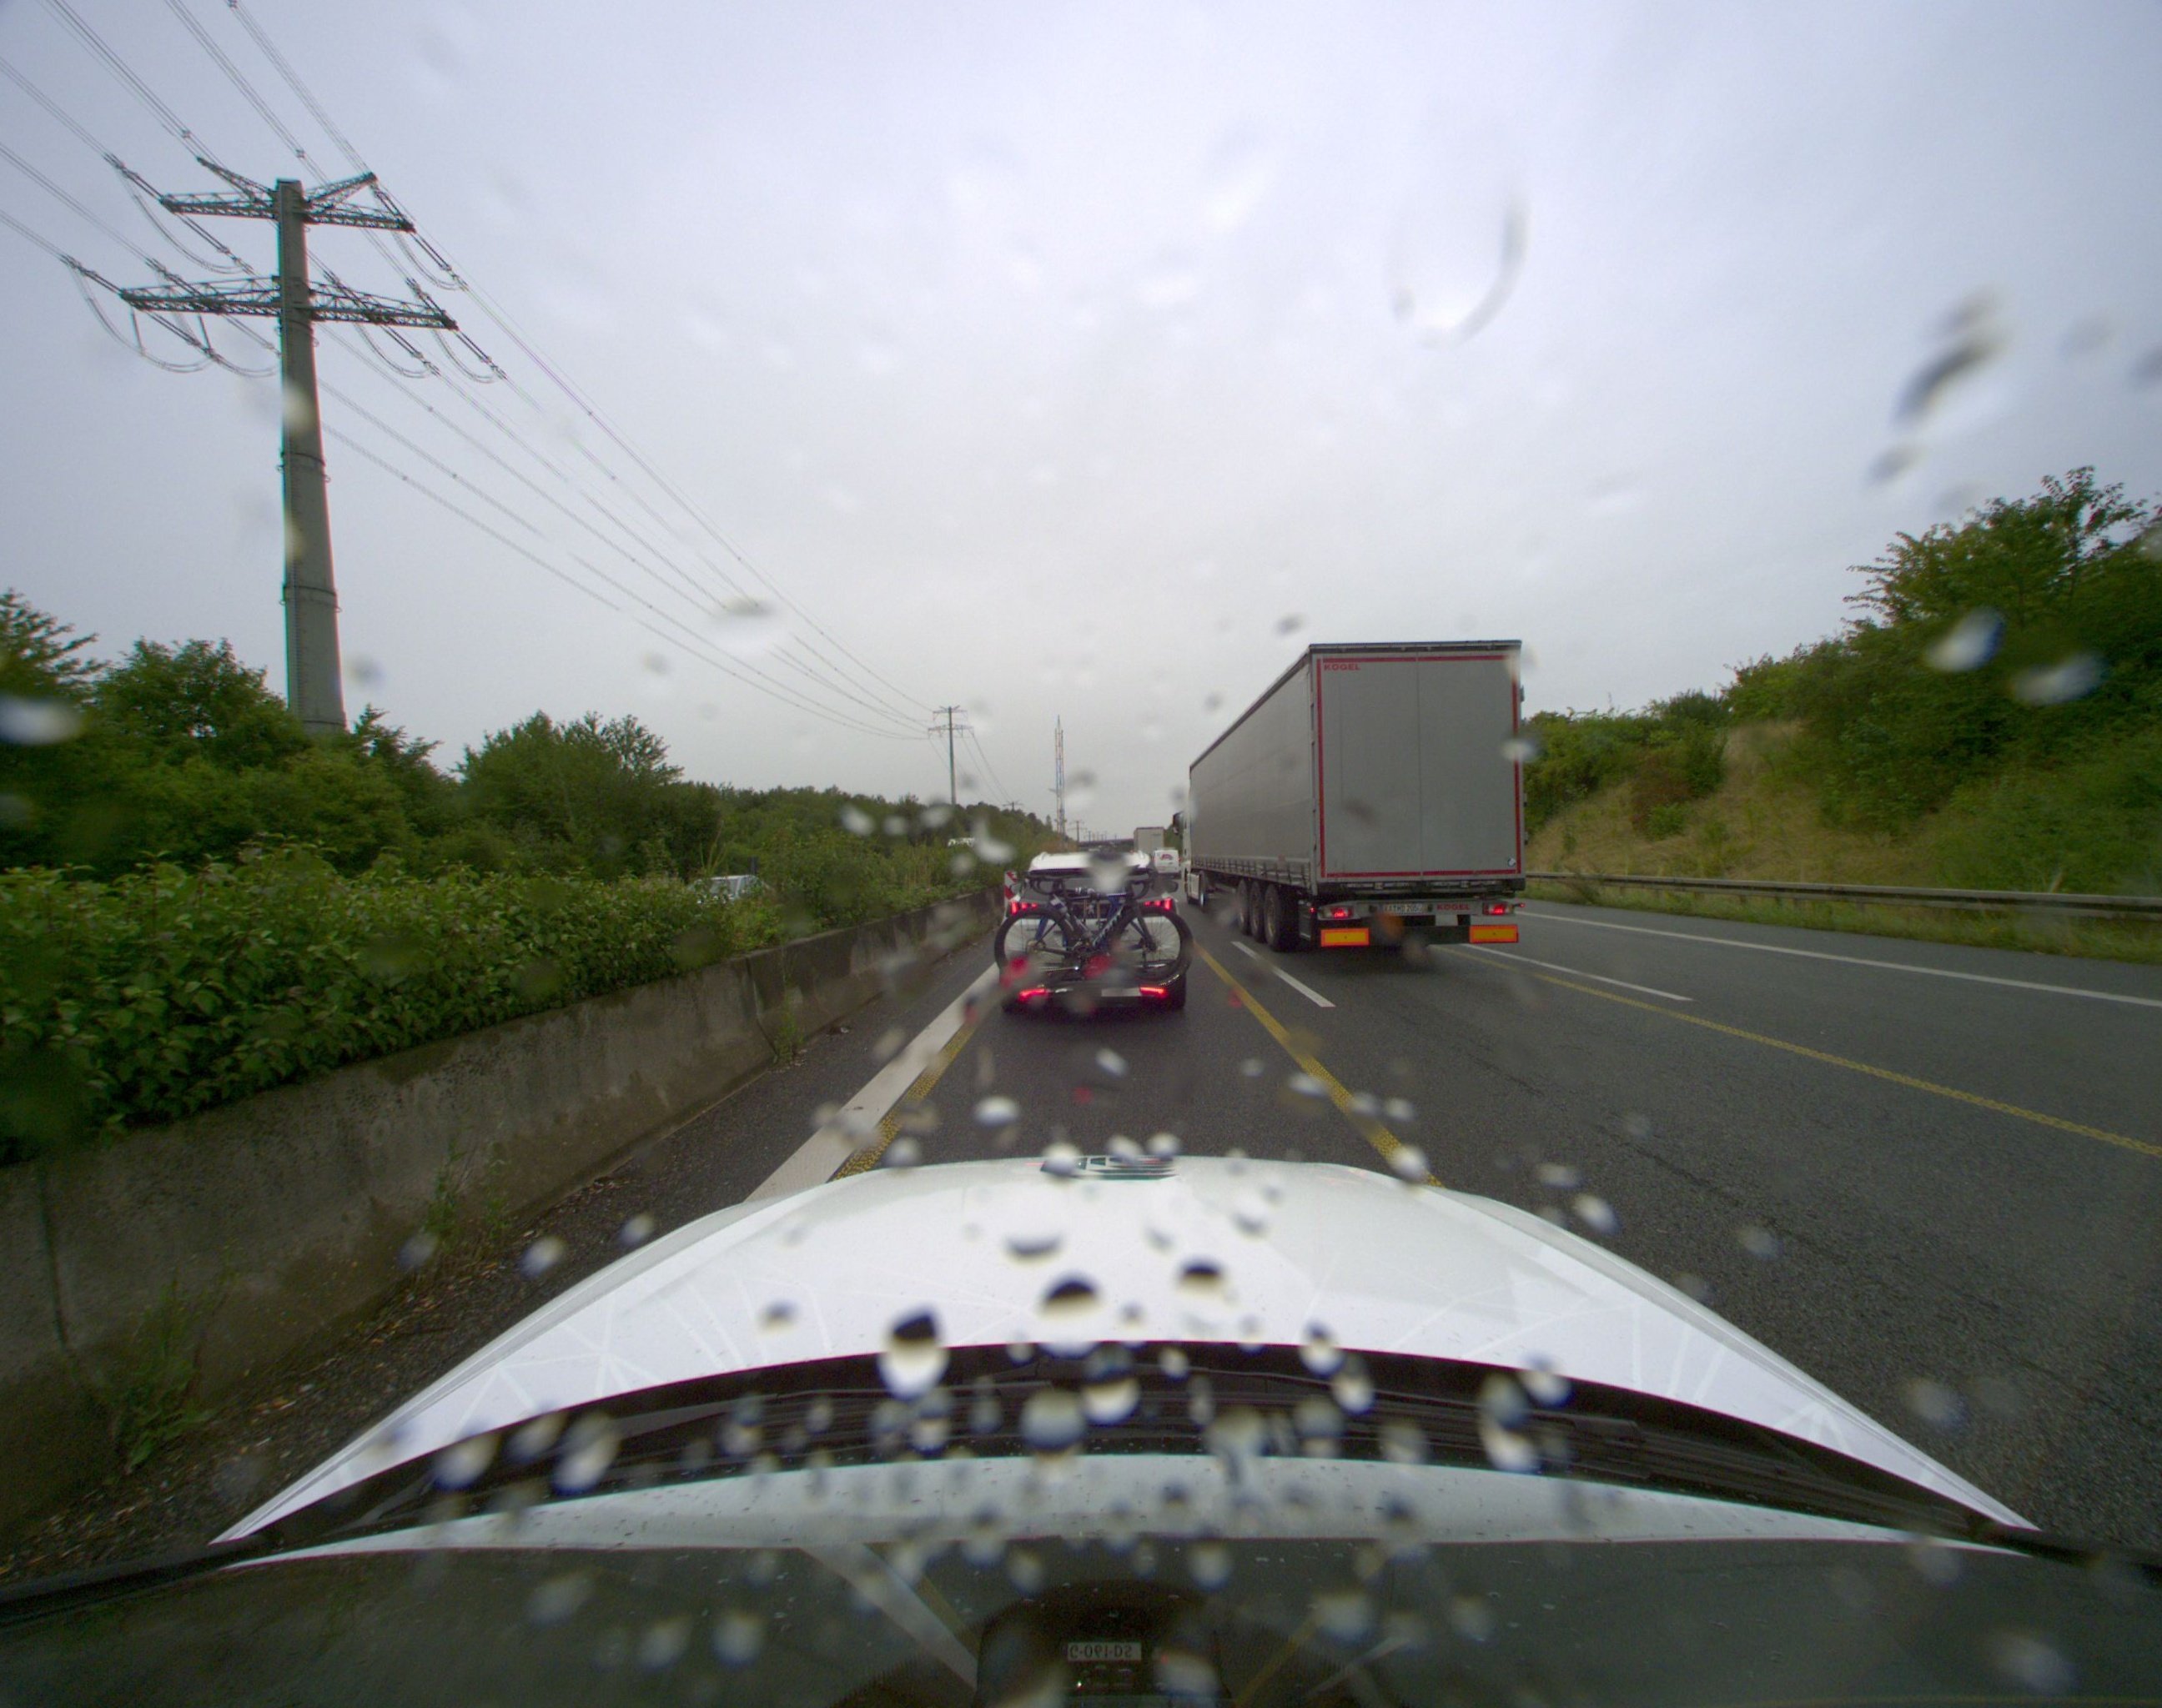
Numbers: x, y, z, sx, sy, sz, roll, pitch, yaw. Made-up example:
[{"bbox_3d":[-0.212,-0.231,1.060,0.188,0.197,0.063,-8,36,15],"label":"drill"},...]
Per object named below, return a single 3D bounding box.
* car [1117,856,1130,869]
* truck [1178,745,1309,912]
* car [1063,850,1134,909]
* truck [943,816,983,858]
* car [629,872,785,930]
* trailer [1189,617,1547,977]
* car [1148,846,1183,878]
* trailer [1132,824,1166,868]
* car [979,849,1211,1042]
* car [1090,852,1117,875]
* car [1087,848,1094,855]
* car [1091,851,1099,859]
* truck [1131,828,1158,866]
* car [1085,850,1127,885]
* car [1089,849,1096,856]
[{"bbox_3d":[6.942,1.344,133.161,2.102,1.973,4.002,-1,1,2],"label":"car"},{"bbox_3d":[4.416,-0.635,23.310,2.696,4.138,5.693,-1,0,2],"label":"truck"},{"bbox_3d":[0.528,0.679,23.618,1.843,1.531,4.002,-1,0,2],"label":"car"},{"bbox_3d":[-12.499,-1.741,86.799,2.776,4.023,7.235,-4,0,1],"label":"truck"},{"bbox_3d":[-9.310,1.123,20.692,1.986,1.191,4.002,-1,0,2],"label":"car"},{"bbox_3d":[4.255,-0.663,16.382,2.696,4.146,13.737,-1,0,2],"label":"trailer"},{"bbox_3d":[5.163,0.477,50.250,1.822,1.839,4.657,-1,0,2],"label":"car"},{"bbox_3d":[6.796,-0.770,83.461,2.682,4.076,13.639,-1,0,2],"label":"trailer"},{"bbox_3d":[0.183,0.739,8.956,1.843,1.531,4.770,-1,0,2],"label":"car"},{"bbox_3d":[1.631,0.668,58.135,1.843,1.531,4.002,-1,0,2],"label":"car"},{"bbox_3d":[2.941,-0.732,244.409,1.924,1.973,4.002,-1,1,2],"label":"car"},{"bbox_3d":[3.749,0.305,213.883,1.924,1.973,4.002,-1,1,2],"label":"car"},{"bbox_3d":[7.026,-0.753,90.464,2.650,4.076,6.541,-1,0,2],"label":"truck"},{"bbox_3d":[1.190,0.618,38.604,1.843,1.531,4.002,-1,0,2],"label":"car"},{"bbox_3d":[3.167,-0.398,231.736,1.924,1.910,4.002,-1,1,2],"label":"car"}]
